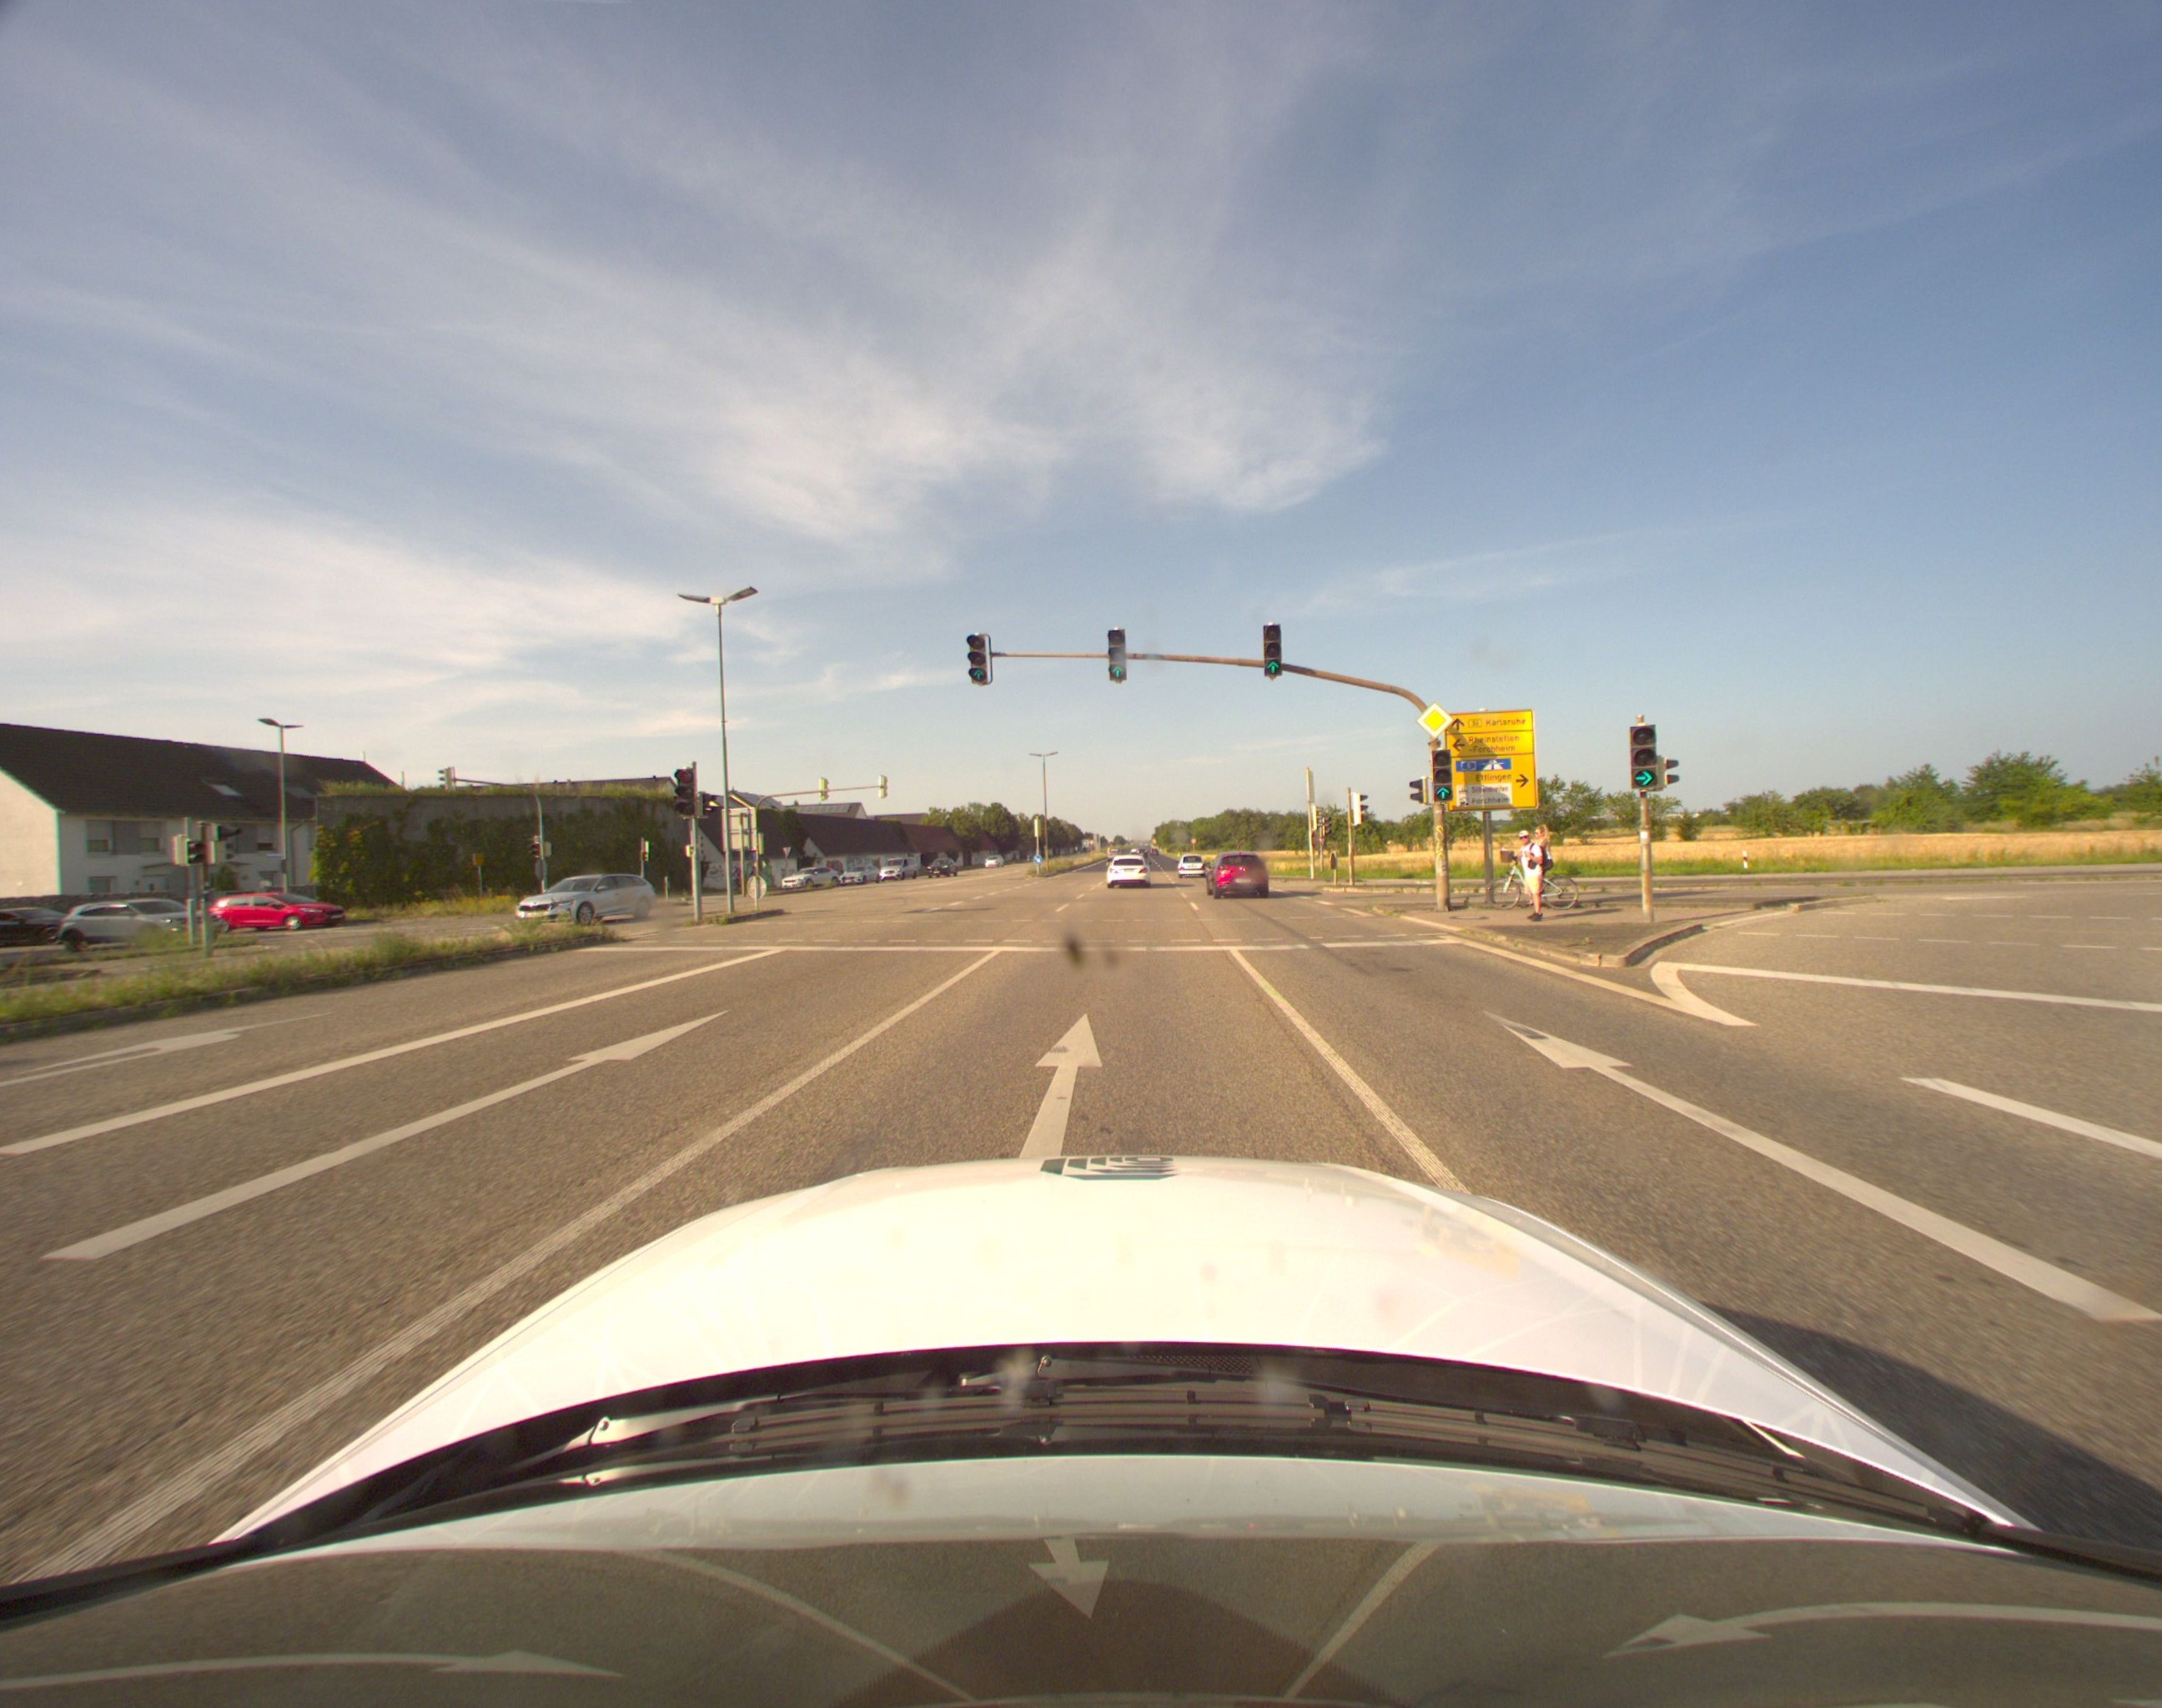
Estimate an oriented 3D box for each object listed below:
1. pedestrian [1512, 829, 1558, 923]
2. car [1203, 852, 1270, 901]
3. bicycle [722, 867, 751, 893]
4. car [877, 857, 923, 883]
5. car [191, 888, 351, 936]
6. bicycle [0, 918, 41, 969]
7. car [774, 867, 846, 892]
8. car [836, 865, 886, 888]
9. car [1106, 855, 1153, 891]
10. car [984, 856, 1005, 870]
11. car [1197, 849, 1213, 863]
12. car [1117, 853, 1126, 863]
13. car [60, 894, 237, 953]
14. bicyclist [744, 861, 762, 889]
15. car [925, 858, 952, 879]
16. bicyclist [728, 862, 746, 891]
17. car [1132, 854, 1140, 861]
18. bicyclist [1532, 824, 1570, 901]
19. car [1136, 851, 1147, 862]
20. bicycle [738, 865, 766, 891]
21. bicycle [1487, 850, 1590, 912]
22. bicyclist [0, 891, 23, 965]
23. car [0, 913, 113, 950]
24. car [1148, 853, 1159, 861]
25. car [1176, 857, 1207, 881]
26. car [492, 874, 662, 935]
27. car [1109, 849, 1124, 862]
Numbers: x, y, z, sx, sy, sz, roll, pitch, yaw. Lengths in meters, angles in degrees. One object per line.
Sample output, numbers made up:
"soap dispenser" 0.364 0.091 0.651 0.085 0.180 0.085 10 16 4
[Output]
"pedestrian" 8.624 0.411 15.499 0.617 1.751 0.600 -1 -1 14
"car" 5.182 0.714 27.555 1.697 1.506 4.505 0 0 4
"bicycle" -24.179 1.824 57.189 0.750 1.749 2.610 0 -1 5
"car" -14.995 1.317 67.863 1.897 1.928 5.463 -5 -1 7
"car" -31.104 2.198 31.355 4.281 1.413 1.640 -4 0 -3
"bicycle" -27.150 2.241 20.148 2.141 1.192 0.906 -3 -1 13
"car" -17.978 1.669 54.271 1.932 1.497 4.786 -1 -1 22
"car" -16.405 1.652 60.876 1.692 1.497 4.551 -5 -1 10
"car" 2.192 0.810 36.237 1.984 1.516 4.005 0 -1 4
"car" -11.535 1.200 109.201 1.828 1.707 4.763 -4 -1 5
"car" 13.753 0.240 90.523 1.645 1.570 3.686 0 -1 6
"car" 8.510 0.778 170.333 1.830 2.014 4.006 0 -1 5
"car" -30.664 2.264 26.845 3.968 1.563 1.760 -4 -1 5
"bicyclist" -23.057 1.467 57.234 0.767 2.014 1.063 0 -1 4
"car" -11.948 1.224 68.685 1.729 1.541 4.239 -4 -1 -4
"bicyclist" -24.158 1.558 57.200 0.767 2.014 1.063 0 -1 4
"car" 13.503 0.791 199.002 1.789 1.651 3.542 0 -1 2
"bicyclist" 10.050 0.187 17.436 0.555 1.612 0.506 -1 -1 10
"car" 10.238 0.396 137.555 1.819 1.728 4.004 0 -1 4
"bicycle" -23.073 1.641 57.166 0.750 1.749 2.610 0 -1 5
"bicycle" 9.787 0.572 17.461 1.843 1.289 0.530 0 -1 7
"bicyclist" -27.075 1.860 20.100 0.848 1.787 0.850 -4 -2 12
"car" -38.325 2.825 29.617 3.610 1.177 1.747 0 -1 -17
"car" 15.083 0.656 169.662 1.986 1.585 4.286 0 -1 2
"car" 6.700 0.892 49.780 1.610 1.387 3.955 0 -1 4
"car" -14.908 1.430 24.477 1.745 1.462 4.741 -4 -1 5
"car" 4.680 0.209 106.736 1.749 1.618 4.007 0 -1 6
